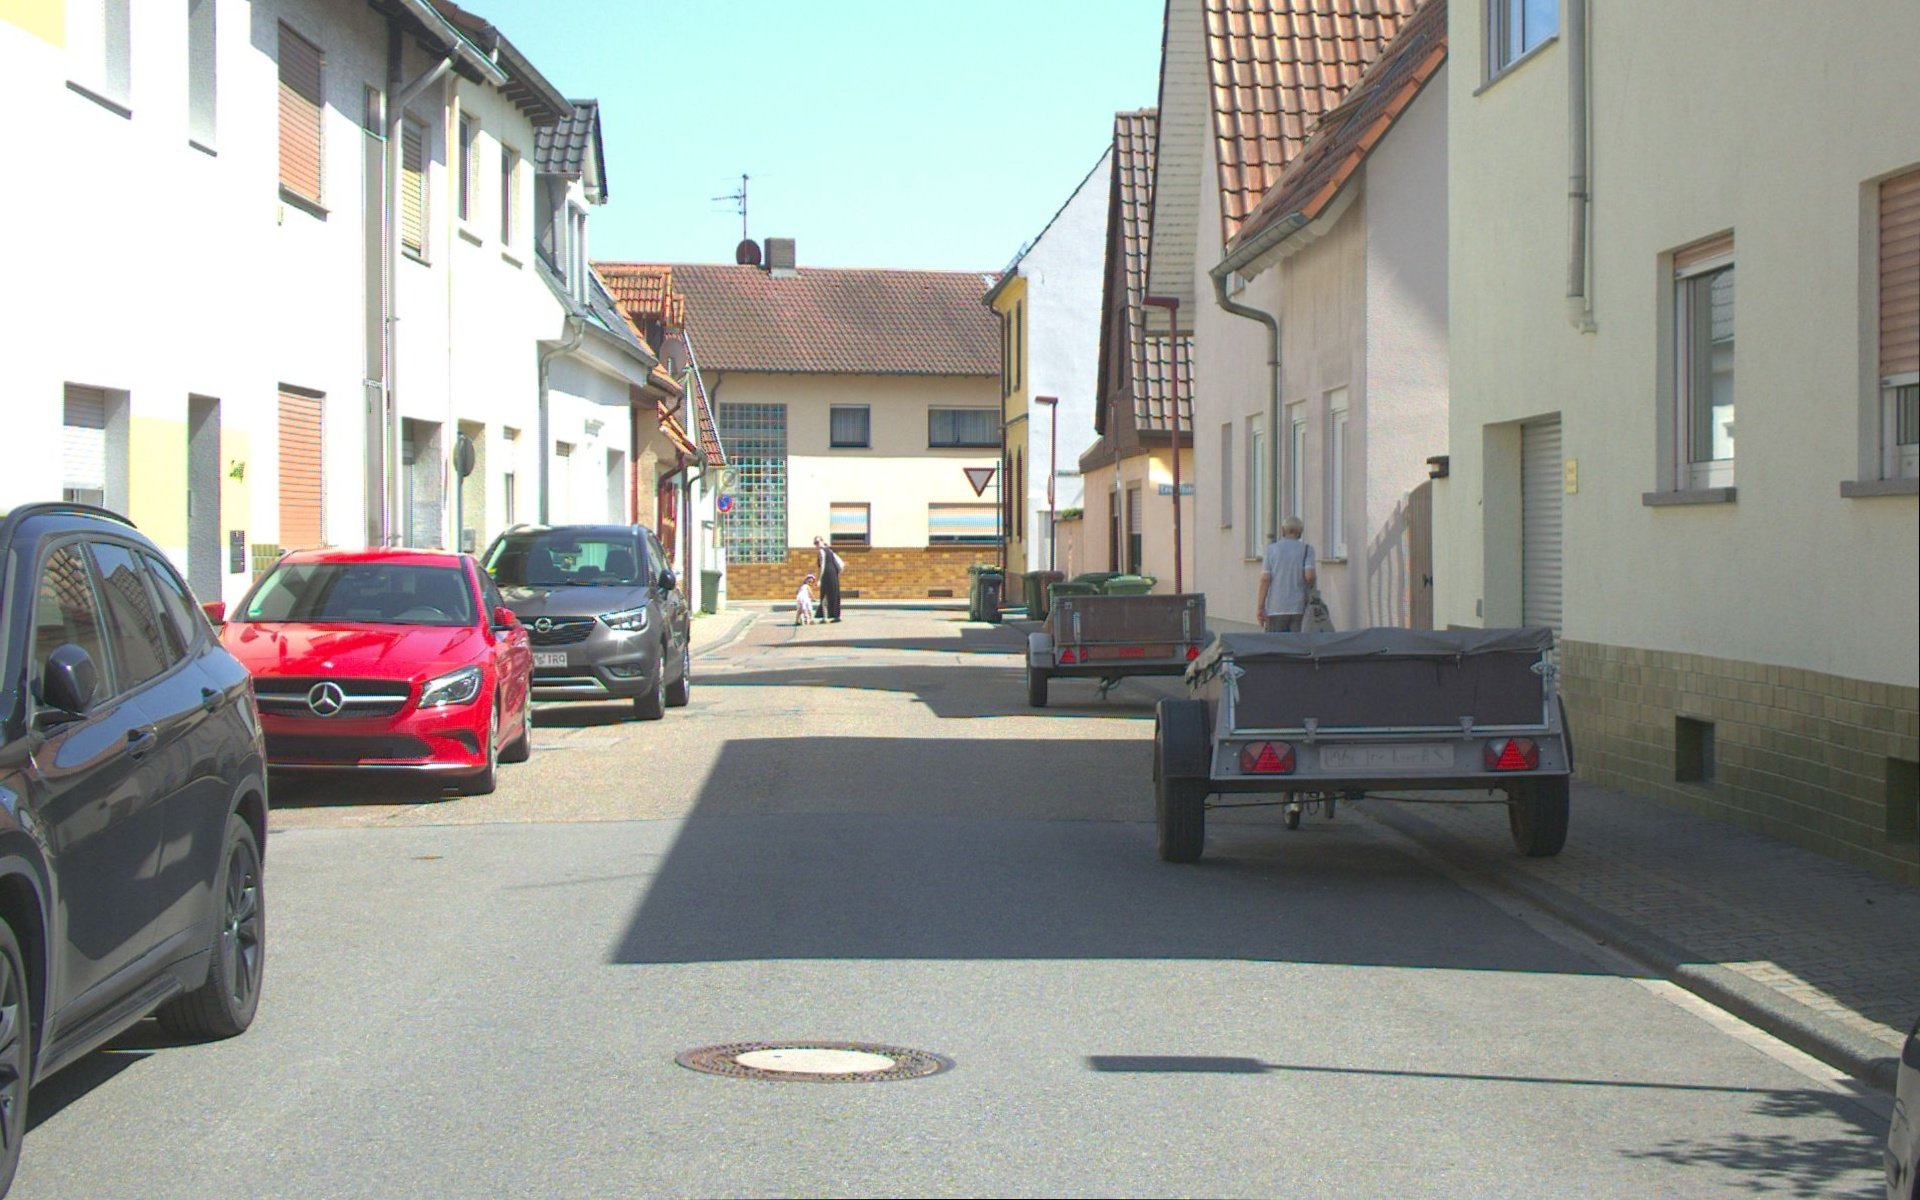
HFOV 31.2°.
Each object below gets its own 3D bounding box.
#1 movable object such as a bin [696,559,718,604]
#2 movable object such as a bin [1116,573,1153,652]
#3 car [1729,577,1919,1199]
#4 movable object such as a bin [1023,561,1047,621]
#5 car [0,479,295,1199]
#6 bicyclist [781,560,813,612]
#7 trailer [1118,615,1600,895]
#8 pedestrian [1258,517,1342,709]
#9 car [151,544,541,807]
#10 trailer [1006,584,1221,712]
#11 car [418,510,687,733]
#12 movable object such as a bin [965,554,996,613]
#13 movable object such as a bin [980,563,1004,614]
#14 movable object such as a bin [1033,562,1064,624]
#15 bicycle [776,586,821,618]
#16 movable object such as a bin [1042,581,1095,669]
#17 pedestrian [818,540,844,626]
[{"bbox_3d":[-5.297,-0.387,71.895,0.448,0.918,0.404,-1,1,-4],"label":"movable object such as a bin"},{"bbox_3d":[2.408,0.166,47.564,0.457,1.083,0.502,-1,1,-2],"label":"movable object such as a bin"},{"bbox_3d":[2.303,0.698,4.013,1.649,1.431,4.135,-1,1,-3],"label":"car"},{"bbox_3d":[1.423,-0.172,65.430,0.425,1.124,0.414,-1,1,-4],"label":"movable object such as a bin"},{"bbox_3d":[-2.993,0.526,8.512,1.800,1.568,4.615,-1,1,0],"label":"car"},{"bbox_3d":[-3.005,-0.262,63.303,0.461,0.956,0.352,-1,0,-30],"label":"bicyclist"},{"bbox_3d":[1.749,0.655,16.118,1.817,1.086,3.481,0,1,-1],"label":"trailer"},{"bbox_3d":[2.797,0.110,28.320,0.595,1.559,0.557,0,-3,-3],"label":"pedestrian"},{"bbox_3d":[-3.667,0.388,21.257,1.800,1.436,4.488,-1,1,-3],"label":"car"},{"bbox_3d":[1.324,0.399,30.811,1.699,1.029,3.481,0,1,-1],"label":"trailer"},{"bbox_3d":[-3.360,0.139,29.093,1.800,1.698,4.488,-1,1,-1],"label":"car"},{"bbox_3d":[0.395,-0.323,66.582,0.569,1.124,0.454,-1,1,-4],"label":"movable object such as a bin"},{"bbox_3d":[0.616,-0.231,65.979,0.424,0.972,0.473,-1,1,-4],"label":"movable object such as a bin"},{"bbox_3d":[1.625,-0.138,62.866,0.525,1.124,0.366,-1,1,-4],"label":"movable object such as a bin"},{"bbox_3d":[-2.982,0.038,63.298,0.441,0.565,0.939,-1,1,-30],"label":"bicycle"},{"bbox_3d":[1.291,0.295,41.077,0.585,1.029,0.596,-1,1,-2],"label":"movable object such as a bin"},{"bbox_3d":[-2.411,-0.318,64.120,0.411,1.604,0.368,-1,1,-11],"label":"pedestrian"}]
